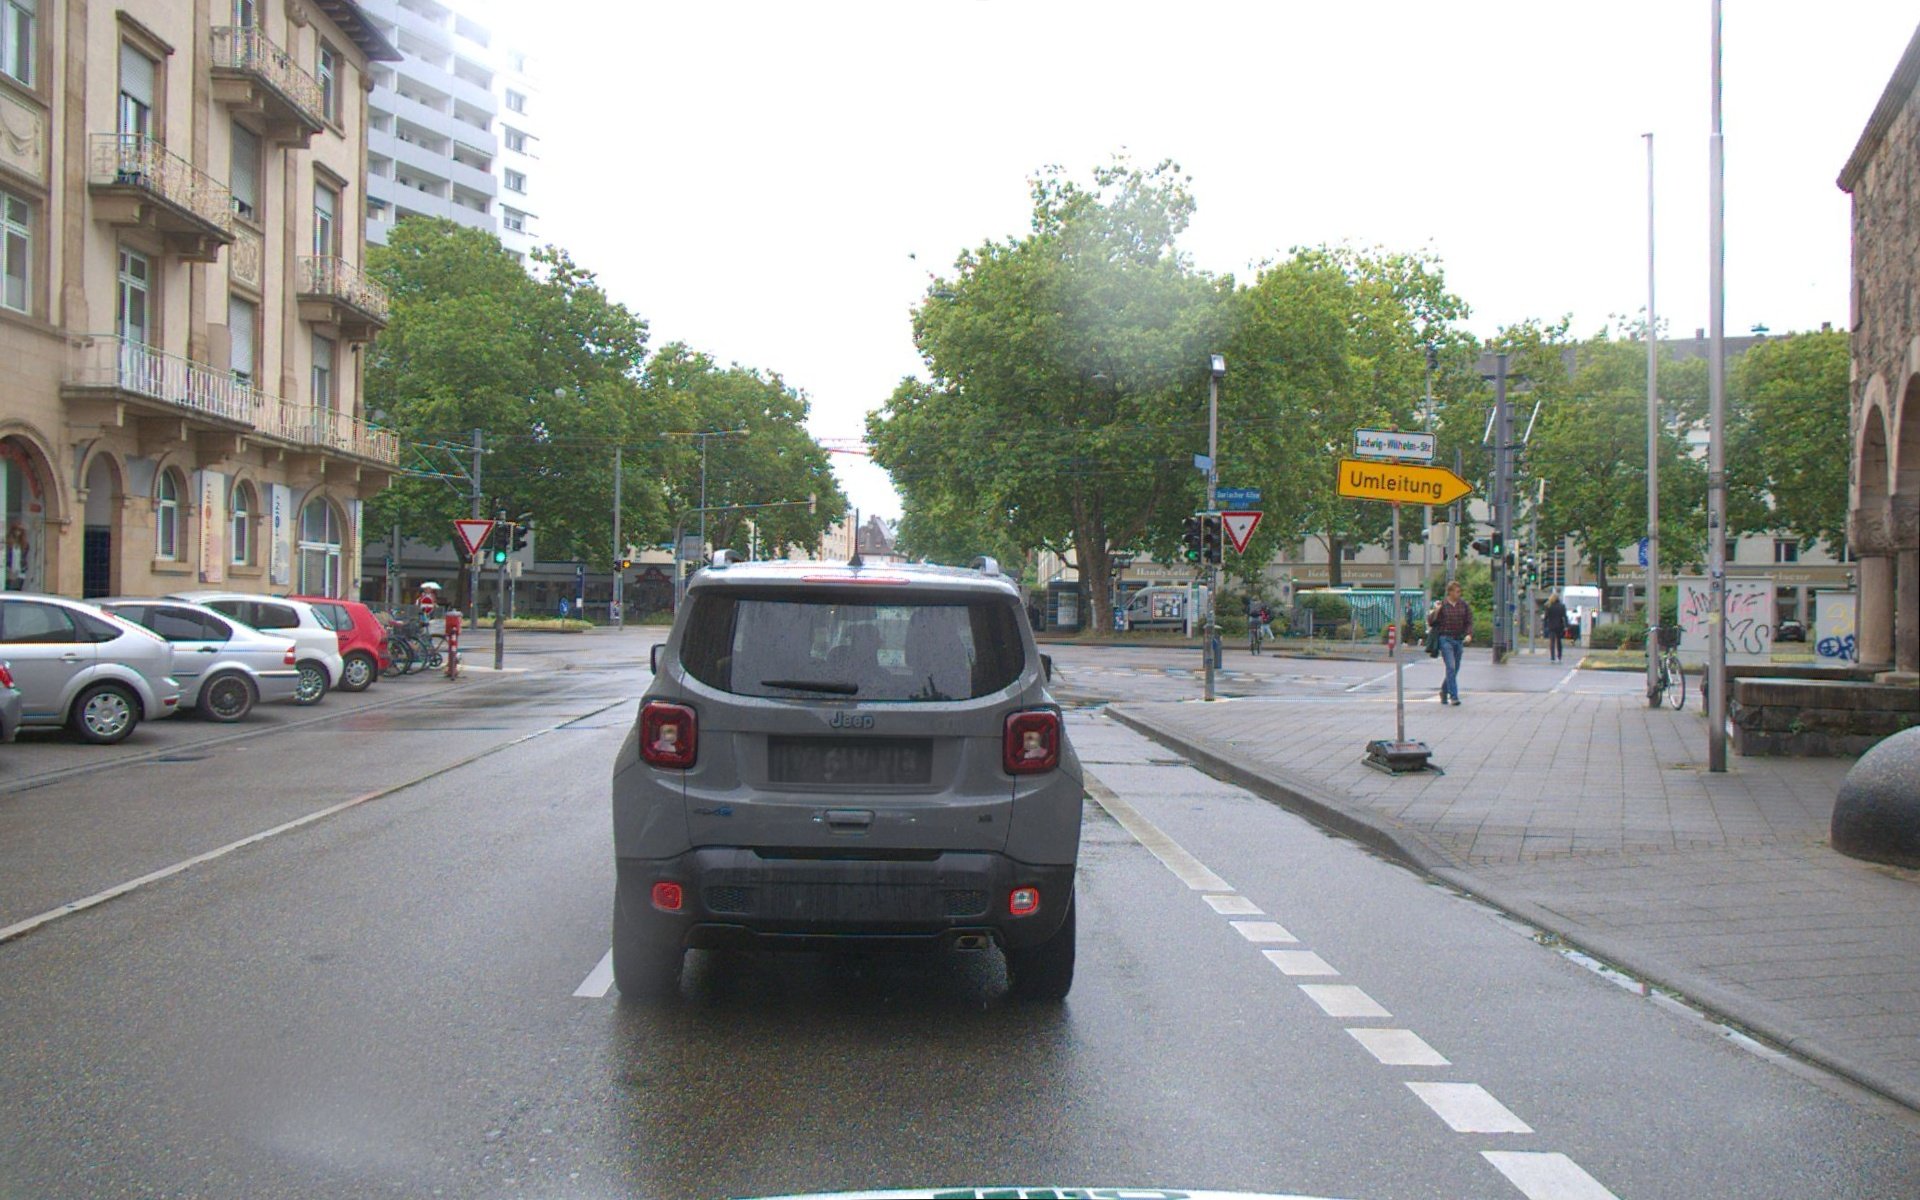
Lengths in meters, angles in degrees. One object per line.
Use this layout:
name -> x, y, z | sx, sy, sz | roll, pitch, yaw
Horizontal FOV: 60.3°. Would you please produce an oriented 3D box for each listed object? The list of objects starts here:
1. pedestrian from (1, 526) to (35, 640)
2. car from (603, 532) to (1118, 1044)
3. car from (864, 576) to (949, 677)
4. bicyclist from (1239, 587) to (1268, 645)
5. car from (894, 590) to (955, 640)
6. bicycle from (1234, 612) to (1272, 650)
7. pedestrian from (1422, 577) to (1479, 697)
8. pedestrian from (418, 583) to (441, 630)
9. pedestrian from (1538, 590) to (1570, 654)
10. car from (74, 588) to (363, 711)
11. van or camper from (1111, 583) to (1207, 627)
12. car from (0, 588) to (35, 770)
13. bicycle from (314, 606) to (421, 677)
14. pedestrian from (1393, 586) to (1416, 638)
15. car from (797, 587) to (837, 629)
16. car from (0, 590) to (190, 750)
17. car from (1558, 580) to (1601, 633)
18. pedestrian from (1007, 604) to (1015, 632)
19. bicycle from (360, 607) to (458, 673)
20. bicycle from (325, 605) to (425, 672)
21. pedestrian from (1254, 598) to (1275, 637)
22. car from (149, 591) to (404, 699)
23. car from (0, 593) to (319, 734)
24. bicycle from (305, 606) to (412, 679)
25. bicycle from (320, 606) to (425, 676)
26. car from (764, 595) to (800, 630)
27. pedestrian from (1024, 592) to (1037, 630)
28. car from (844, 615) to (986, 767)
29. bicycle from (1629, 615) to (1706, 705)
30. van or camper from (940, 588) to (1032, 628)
pedestrian -> -15.466, -0.271, 27.156 | 0.359, 1.854, 0.347 | 0, -1, -4
car -> -0.404, 0.632, 7.551 | 1.739, 1.716, 3.846 | 0, 0, -2
car -> -1.150, 0.543, 35.898 | 1.734, 2.049, 3.999 | 0, 0, -2
bicyclist -> 8.350, 0.454, 46.983 | 0.672, 1.646, 0.884 | -1, 0, 18
car -> -0.912, 0.378, 44.022 | 1.560, 1.274, 3.574 | 0, 0, 0
bicycle -> 8.345, 0.868, 46.960 | 0.677, 1.039, 2.659 | -1, 0, 18
pedestrian -> 7.463, 0.559, 25.201 | 0.769, 1.790, 0.946 | 0, 0, 13
pedestrian -> -20.801, 0.249, 64.877 | 0.605, 1.858, 0.695 | 0, 0, 12
pedestrian -> 15.789, 0.580, 43.975 | 0.767, 1.674, 0.655 | 0, 0, 23
car -> -10.309, 0.649, 23.088 | 3.372, 1.585, 1.681 | 1, 0, -41
van or camper -> 11.170, 0.263, 93.056 | 5.149, 2.356, 2.090 | 1, 0, 2
car -> -9.950, 0.676, 14.098 | 3.372, 1.585, 1.628 | 1, 0, -41
bicycle -> -10.866, 0.755, 30.361 | 1.774, 1.288, 0.498 | 0, 0, -3
pedestrian -> 17.672, 0.485, 65.780 | 0.789, 2.049, 0.589 | 0, 0, 26
car -> -6.310, 0.343, 72.991 | 1.688, 1.769, 3.726 | 0, 0, -5
car -> -9.989, 0.695, 17.098 | 3.372, 1.585, 1.681 | 1, 0, -41
car -> 30.944, 0.318, 82.513 | 1.868, 2.600, 4.786 | 0, 0, 22
pedestrian -> 3.138, 1.085, 102.059 | 0.448, 1.733, 0.424 | 0, 0, -1
bicycle -> -10.968, 0.794, 32.949 | 1.728, 1.288, 0.608 | 0, 0, -3
bicycle -> -11.330, 0.746, 32.061 | 1.728, 1.288, 0.608 | 0, 0, -3
pedestrian -> 12.539, 0.707, 68.046 | 0.660, 1.581, 0.761 | 0, -2, 27
car -> -10.721, 0.673, 26.024 | 3.372, 1.585, 1.681 | 1, 0, -41
car -> -9.906, 0.722, 20.401 | 3.372, 1.585, 1.681 | 1, 0, -41
bicycle -> -10.836, 0.763, 29.814 | 1.728, 1.288, 0.522 | 0, 0, -3
bicycle -> -11.009, 0.763, 31.041 | 1.774, 1.288, 0.498 | 0, 0, -3
car -> -9.052, 0.628, 84.377 | 1.779, 1.700, 3.916 | 0, 0, -6
pedestrian -> 3.859, 0.608, 90.832 | 0.637, 2.049, 0.483 | 0, 0, 11
car -> -0.463, 0.873, 17.252 | 1.336, 1.400, 3.311 | 0, 0, -1
bicycle -> 9.820, 0.810, 23.017 | 0.322, 1.174, 2.076 | 0, 0, 4
van or camper -> 1.941, 0.573, 122.980 | 6.397, 2.963, 2.492 | 0, 0, 25
